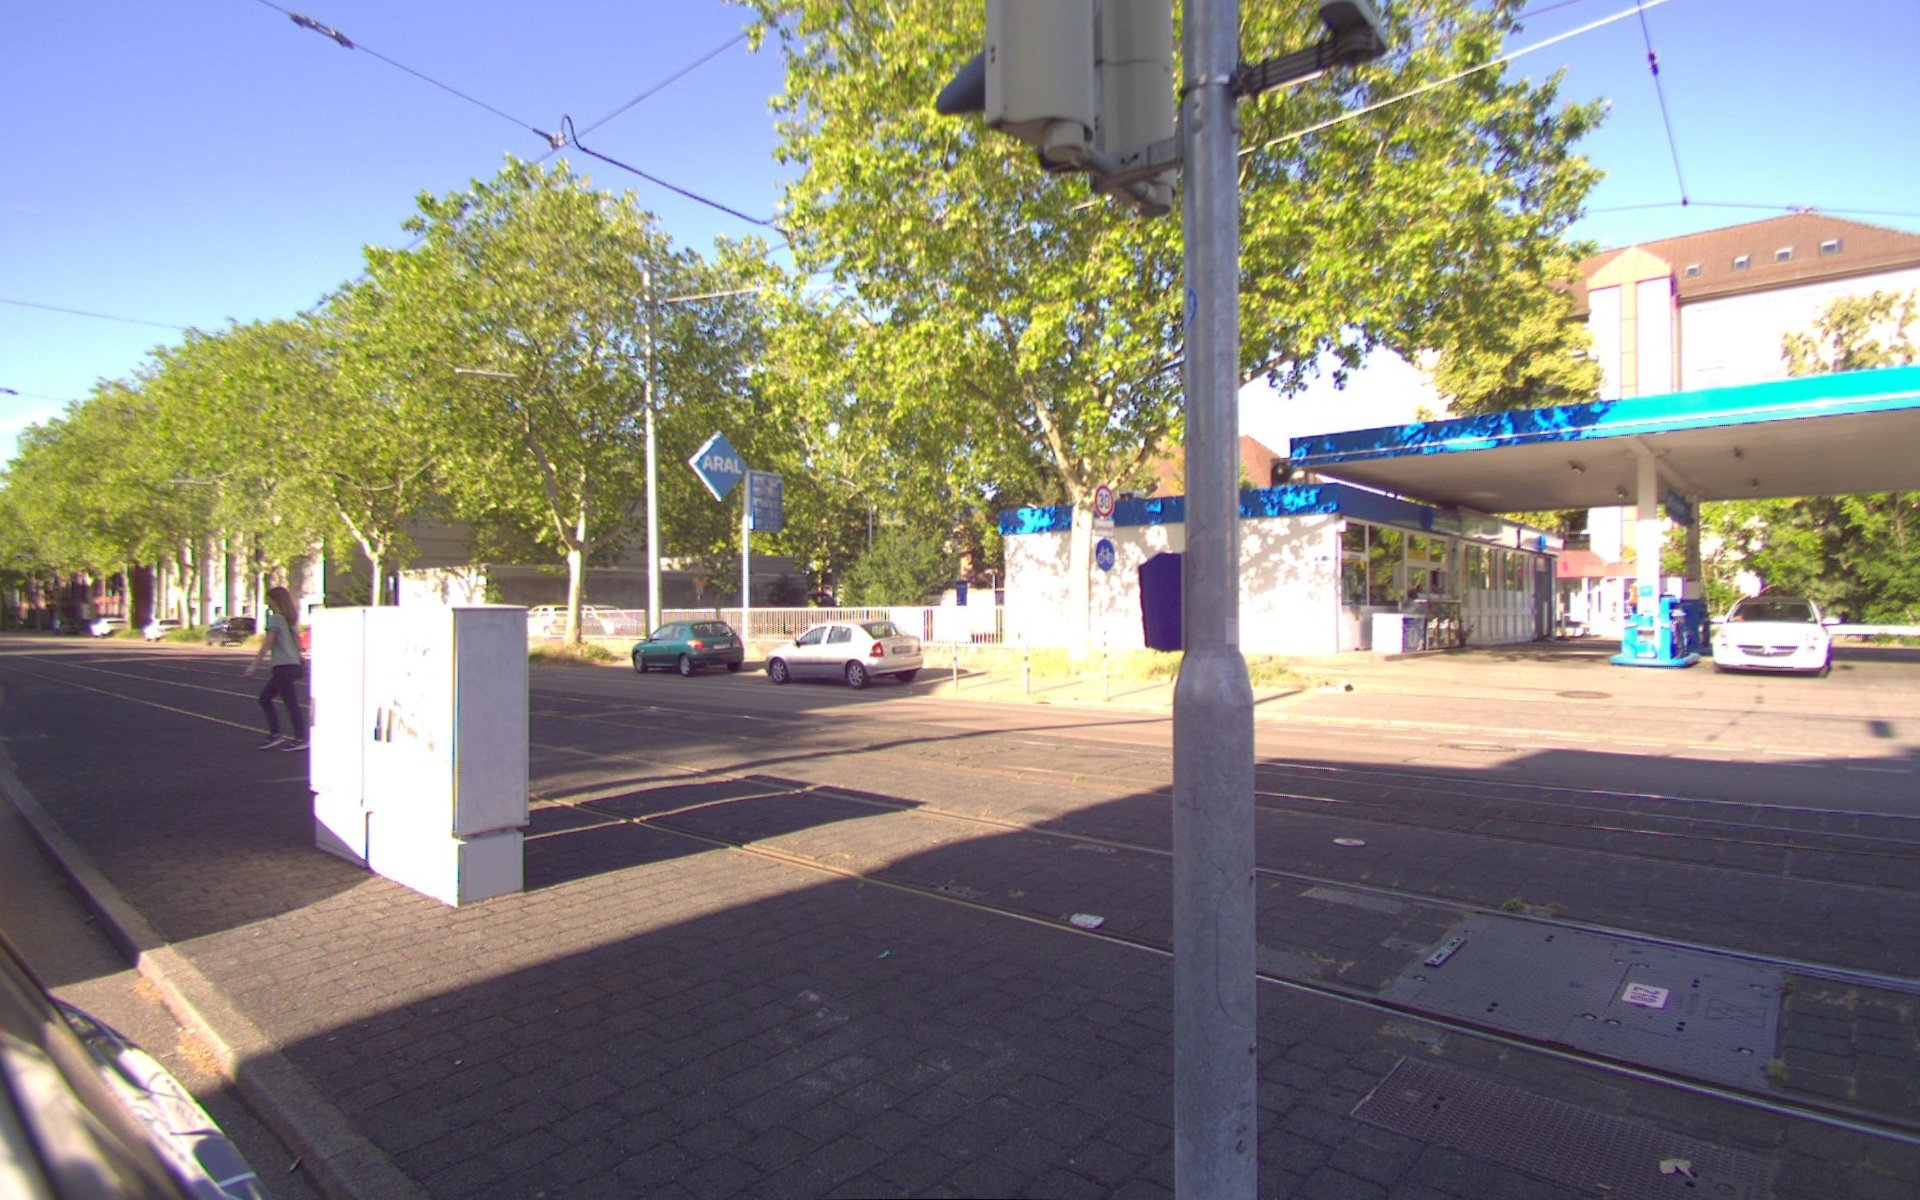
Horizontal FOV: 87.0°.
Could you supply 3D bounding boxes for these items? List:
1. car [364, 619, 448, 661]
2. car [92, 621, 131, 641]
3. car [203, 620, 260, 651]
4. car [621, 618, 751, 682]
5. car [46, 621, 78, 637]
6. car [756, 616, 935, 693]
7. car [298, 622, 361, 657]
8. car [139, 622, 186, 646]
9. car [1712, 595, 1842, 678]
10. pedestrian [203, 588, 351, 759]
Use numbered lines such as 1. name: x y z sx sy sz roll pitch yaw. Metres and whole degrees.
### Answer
1. car: -21.938 1.554 40.046 3.652 1.541 1.802 -1 -1 41
2. car: -66.682 2.408 79.522 3.998 1.525 1.779 -1 -1 41
3. car: -40.752 1.958 56.584 3.998 1.674 1.779 -1 -1 41
4. car: -7.324 1.279 26.926 3.519 1.475 1.670 -1 2 43
5. car: -85.323 2.739 96.109 3.998 1.525 1.779 -1 -1 41
6. car: -2.626 1.161 22.657 3.965 1.475 1.771 -1 2 43
7. car: -28.552 1.755 45.793 3.045 1.519 1.620 -1 -1 41
8. car: -53.718 2.271 68.156 3.998 1.509 1.779 -1 -1 41
9. car: 16.031 0.677 19.903 1.812 1.453 3.947 -1 -1 39
10. pedestrian: -6.955 0.721 10.332 1.087 1.674 0.692 -1 0 13
